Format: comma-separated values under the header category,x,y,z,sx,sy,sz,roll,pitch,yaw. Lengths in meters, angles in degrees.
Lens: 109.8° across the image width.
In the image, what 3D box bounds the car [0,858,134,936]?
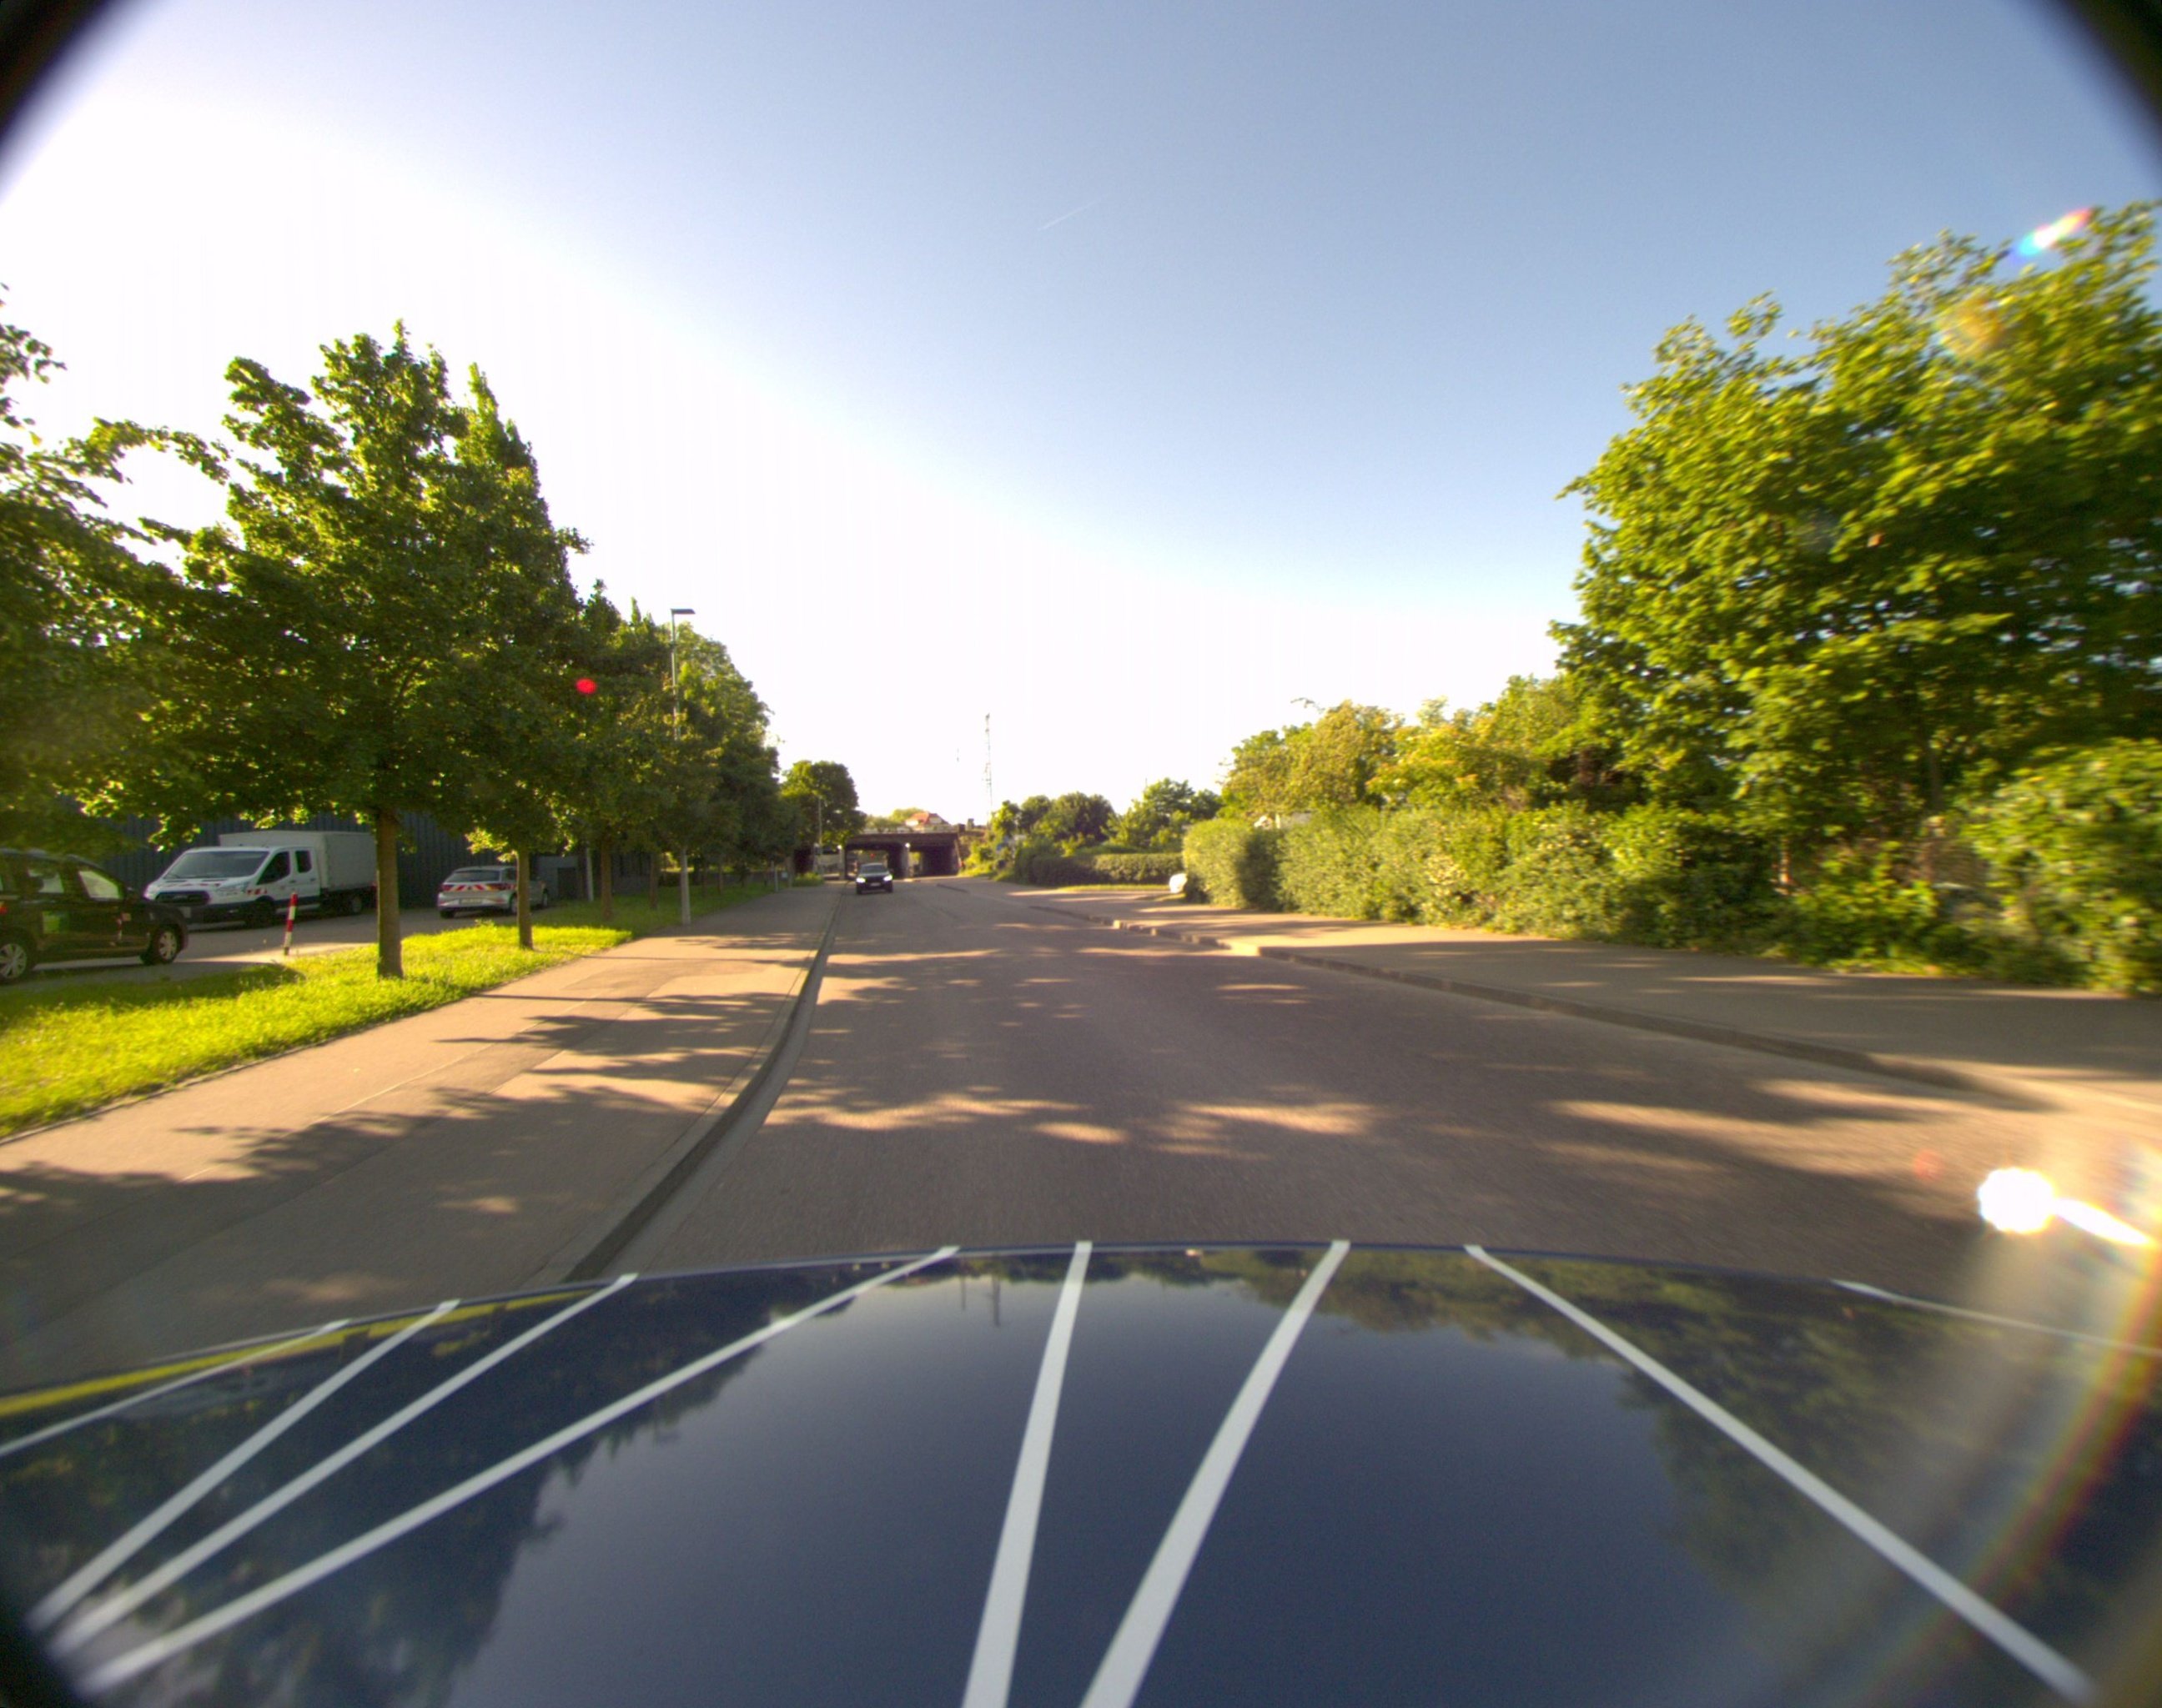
category,x,y,z,sx,sy,sz,roll,pitch,yaw
car,-27.283,1.055,19.546,1.779,1.717,3.762,-1,2,-17

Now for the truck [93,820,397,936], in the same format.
category,x,y,z,sx,sy,sz,roll,pitch,yaw
truck,-22.634,0.583,21.191,2.579,2.676,6.409,-2,0,-15

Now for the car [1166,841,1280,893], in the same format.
category,x,y,z,sx,sy,sz,roll,pitch,yaw
car,5.348,0.484,28.355,3.993,1.772,2.002,-2,0,14

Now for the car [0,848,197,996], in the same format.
category,x,y,z,sx,sy,sz,roll,pitch,yaw
car,-14.875,0.872,10.363,1.903,1.847,4.233,-1,0,-22

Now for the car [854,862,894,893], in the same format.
category,x,y,z,sx,sy,sz,roll,pitch,yaw
car,-11.890,1.305,43.895,2.039,1.623,4.608,-2,0,-13

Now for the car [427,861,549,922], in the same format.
category,x,y,z,sx,sy,sz,roll,pitch,yaw
car,-17.362,1.022,22.468,1.779,1.477,3.643,-1,2,-20
